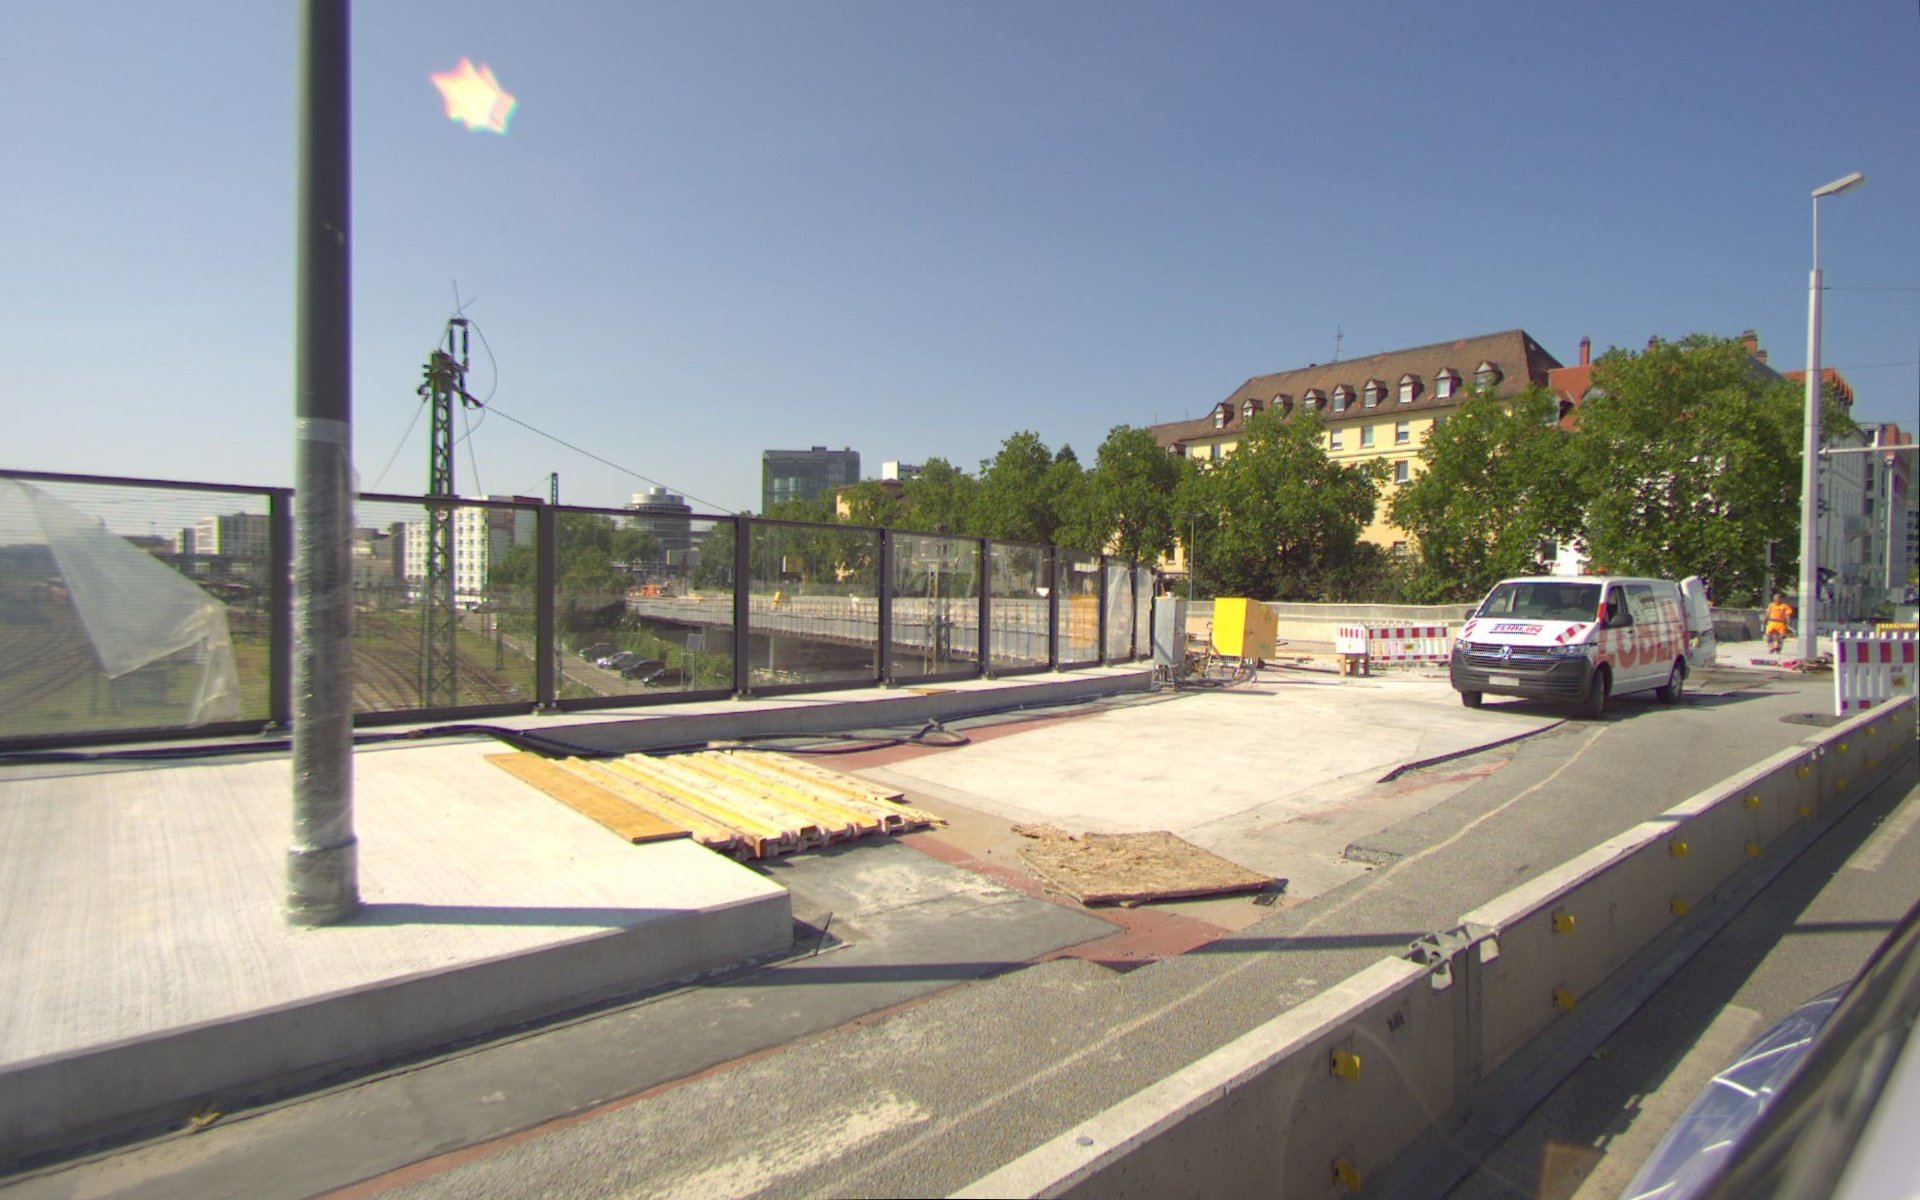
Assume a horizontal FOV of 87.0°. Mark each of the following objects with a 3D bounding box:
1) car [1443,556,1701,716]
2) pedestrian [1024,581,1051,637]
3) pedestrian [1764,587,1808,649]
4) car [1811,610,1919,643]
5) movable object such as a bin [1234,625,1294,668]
[{"bbox_3d":[9.353,0.461,15.295,4.803,2.059,1.882,0,0,-40],"label":"car"},{"bbox_3d":[3.361,0.401,43.974,0.868,2.363,0.792,-3,-2,24],"label":"pedestrian"},{"bbox_3d":[24.916,0.537,30.531,0.849,1.817,0.821,1,2,-42],"label":"pedestrian"},{"bbox_3d":[49.216,1.413,54.655,1.611,1.455,4.648,1,2,-32],"label":"car"},{"bbox_3d":[6.970,1.066,23.255,1.083,0.853,0.757,4,0,-1],"label":"movable object such as a bin"}]
